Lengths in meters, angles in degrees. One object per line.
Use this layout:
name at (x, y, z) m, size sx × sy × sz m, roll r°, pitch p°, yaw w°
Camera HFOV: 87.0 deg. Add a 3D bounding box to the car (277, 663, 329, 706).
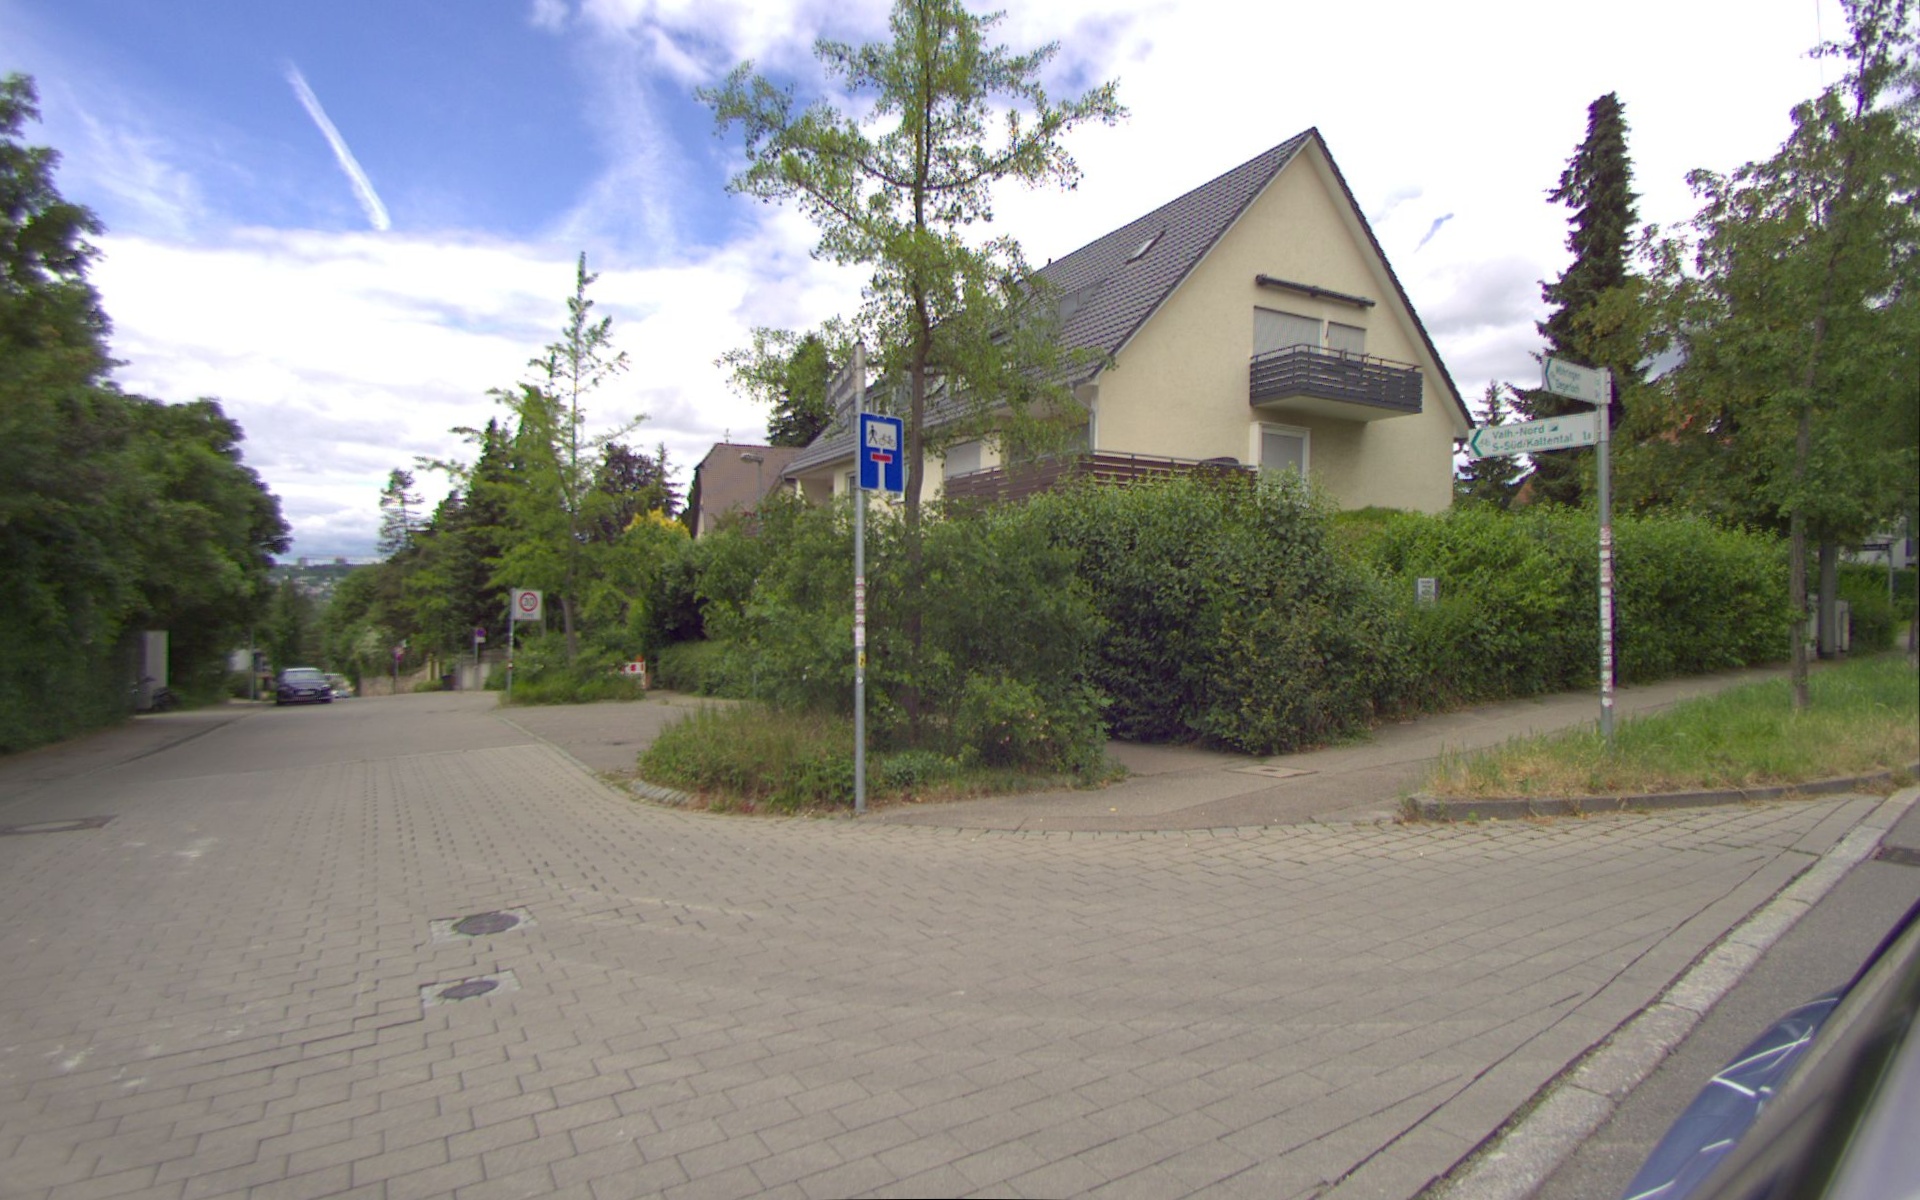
car at (-26.142, 3.332, 40.263) m, size 1.640 × 1.550 × 3.759 m, roll -1°, pitch -3°, yaw -33°
